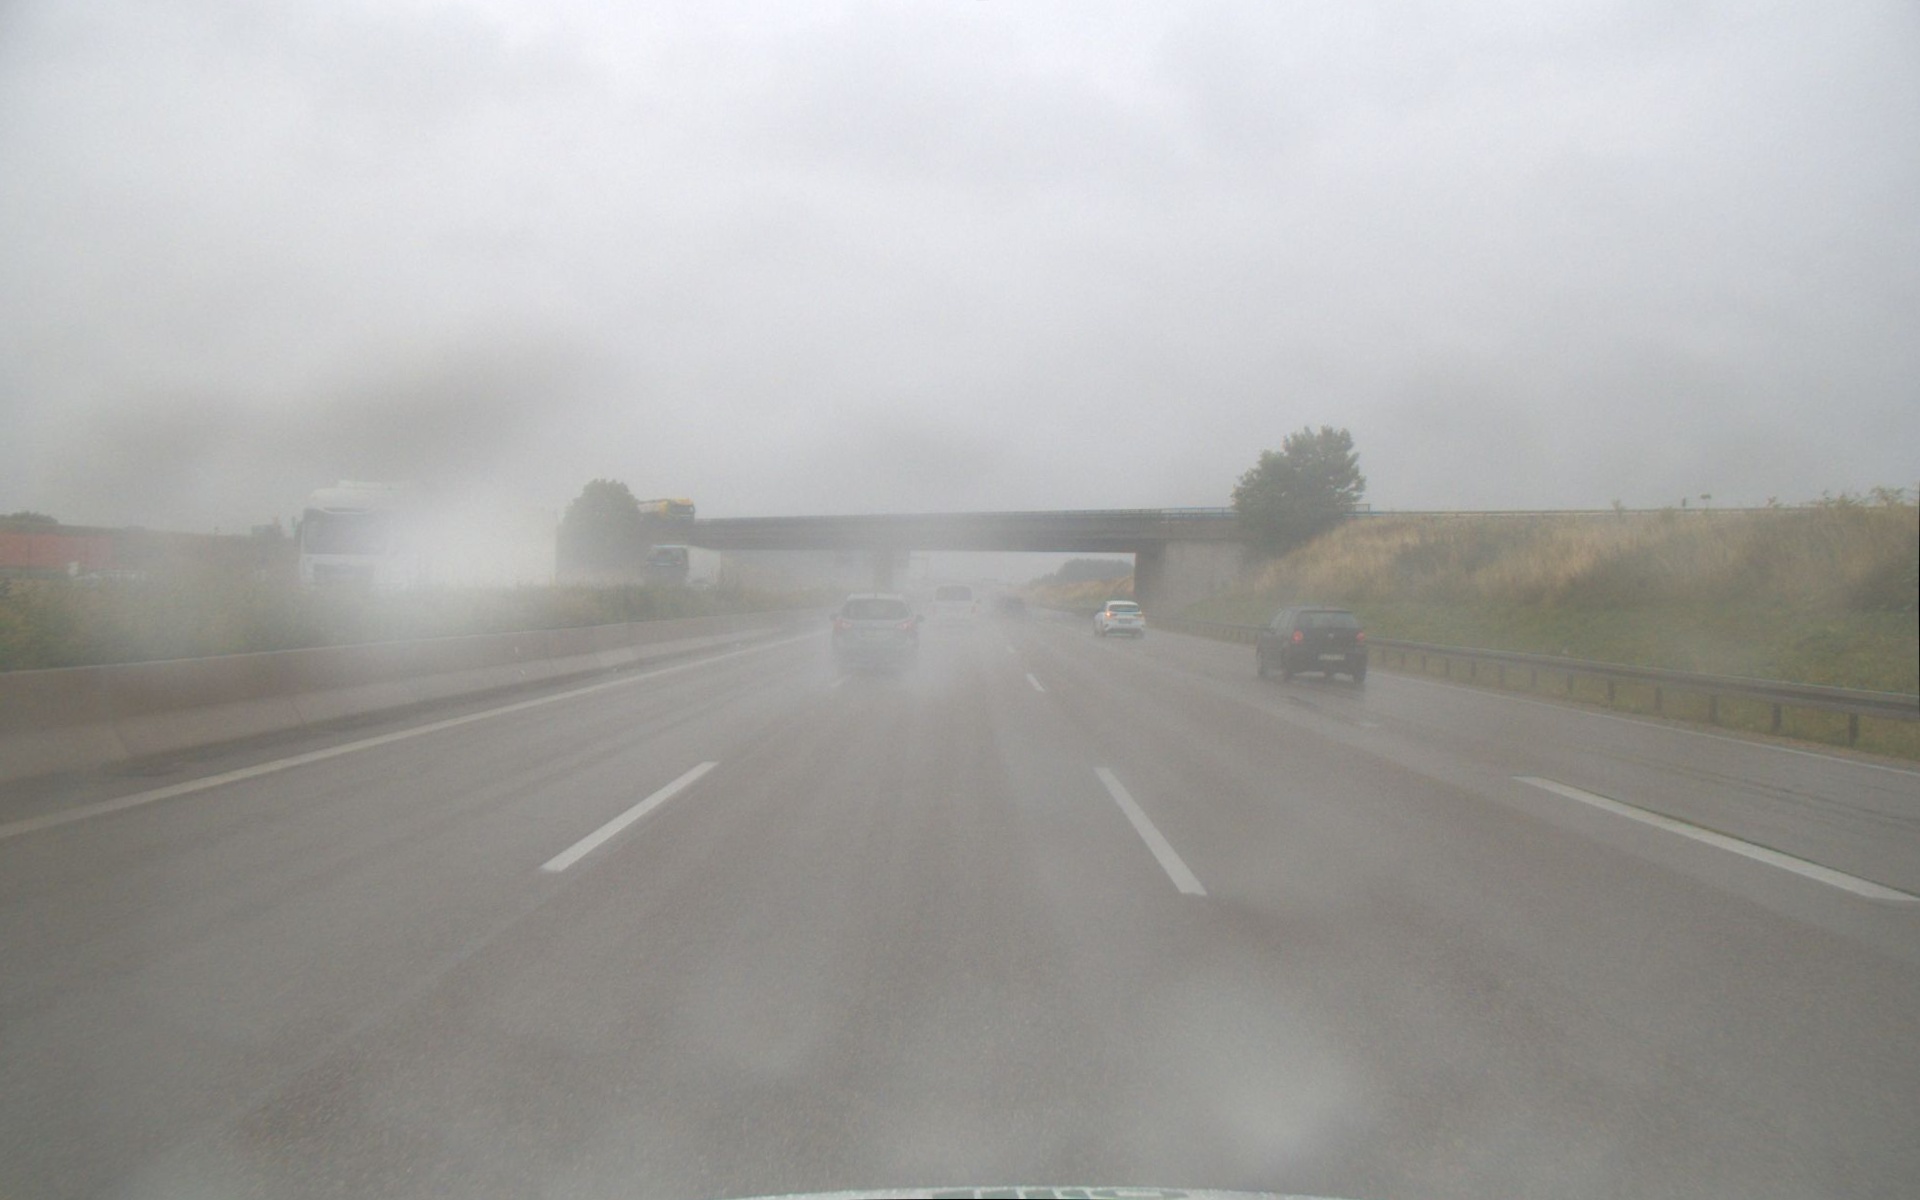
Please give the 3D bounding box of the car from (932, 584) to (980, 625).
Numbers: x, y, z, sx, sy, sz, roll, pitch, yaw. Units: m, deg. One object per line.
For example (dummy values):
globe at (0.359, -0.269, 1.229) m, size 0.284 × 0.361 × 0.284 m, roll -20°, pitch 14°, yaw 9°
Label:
car at (-0.131, 0.201, 67.783) m, size 1.858 × 1.613 × 4.000 m, roll 1°, pitch 0°, yaw 1°

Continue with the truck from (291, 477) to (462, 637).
truck at (-15.347, -1.091, 43.878) m, size 2.702 × 3.914 × 4.819 m, roll 2°, pitch 0°, yaw 0°

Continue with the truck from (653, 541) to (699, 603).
truck at (-18.215, -1.769, 106.243) m, size 1.952 × 3.847 × 4.813 m, roll 1°, pitch 0°, yaw 1°

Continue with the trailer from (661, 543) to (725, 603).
trailer at (-18.220, -1.779, 113.778) m, size 1.953 × 3.830 × 13.859 m, roll 2°, pitch 0°, yaw 0°

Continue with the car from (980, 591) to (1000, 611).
car at (3.337, 0.116, 184.921) m, size 1.953 × 2.138 × 3.998 m, roll 2°, pitch 0°, yaw -2°

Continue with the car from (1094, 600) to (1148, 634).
car at (6.561, 0.691, 67.777) m, size 1.952 × 1.288 × 4.001 m, roll 1°, pitch 0°, yaw 2°

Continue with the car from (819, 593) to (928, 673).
car at (-1.747, 0.652, 34.915) m, size 1.808 × 1.539 × 4.758 m, roll 1°, pitch 0°, yaw 3°

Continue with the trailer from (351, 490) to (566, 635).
trailer at (-15.280, -1.064, 51.726) m, size 2.760 × 3.919 × 12.406 m, roll 2°, pitch 0°, yaw 1°

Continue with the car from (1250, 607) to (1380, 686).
car at (7.076, 0.888, 33.312) m, size 1.697 × 1.446 × 3.656 m, roll 1°, pitch 0°, yaw -2°
